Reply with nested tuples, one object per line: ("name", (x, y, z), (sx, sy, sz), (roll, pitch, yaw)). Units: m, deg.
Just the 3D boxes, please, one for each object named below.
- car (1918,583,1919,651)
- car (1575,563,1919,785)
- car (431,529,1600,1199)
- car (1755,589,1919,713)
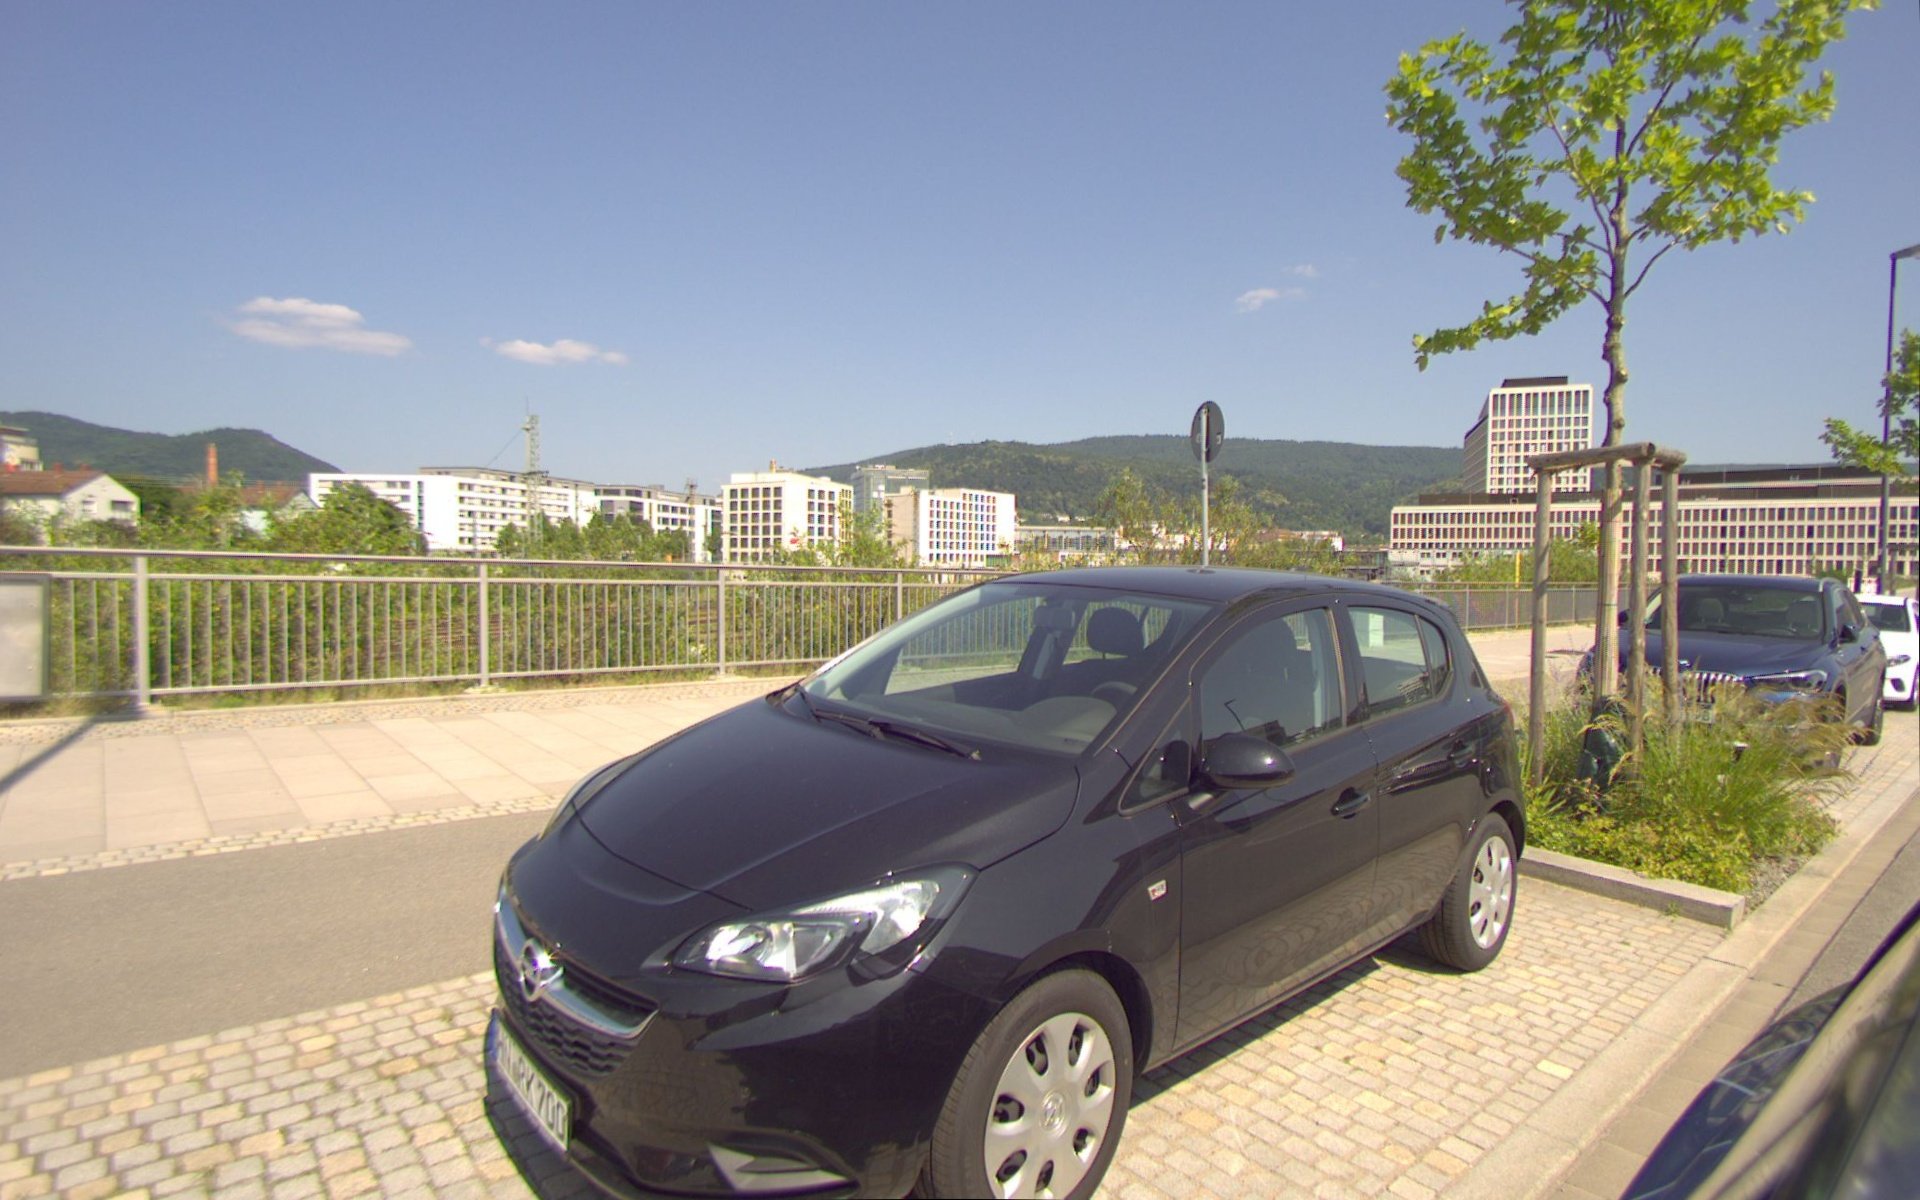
("car", (24.069, 0.384, 23.926), (3.929, 1.558, 1.663), (-1, 0, -40))
("car", (7.490, 0.524, 9.451), (4.163, 1.627, 1.768), (-1, 0, -40))
("car", (0.542, 0.556, 3.479), (3.929, 1.444, 1.664), (-1, 3, -40))
("car", (12.464, 0.586, 13.914), (3.929, 1.473, 1.663), (-1, 0, -40))
